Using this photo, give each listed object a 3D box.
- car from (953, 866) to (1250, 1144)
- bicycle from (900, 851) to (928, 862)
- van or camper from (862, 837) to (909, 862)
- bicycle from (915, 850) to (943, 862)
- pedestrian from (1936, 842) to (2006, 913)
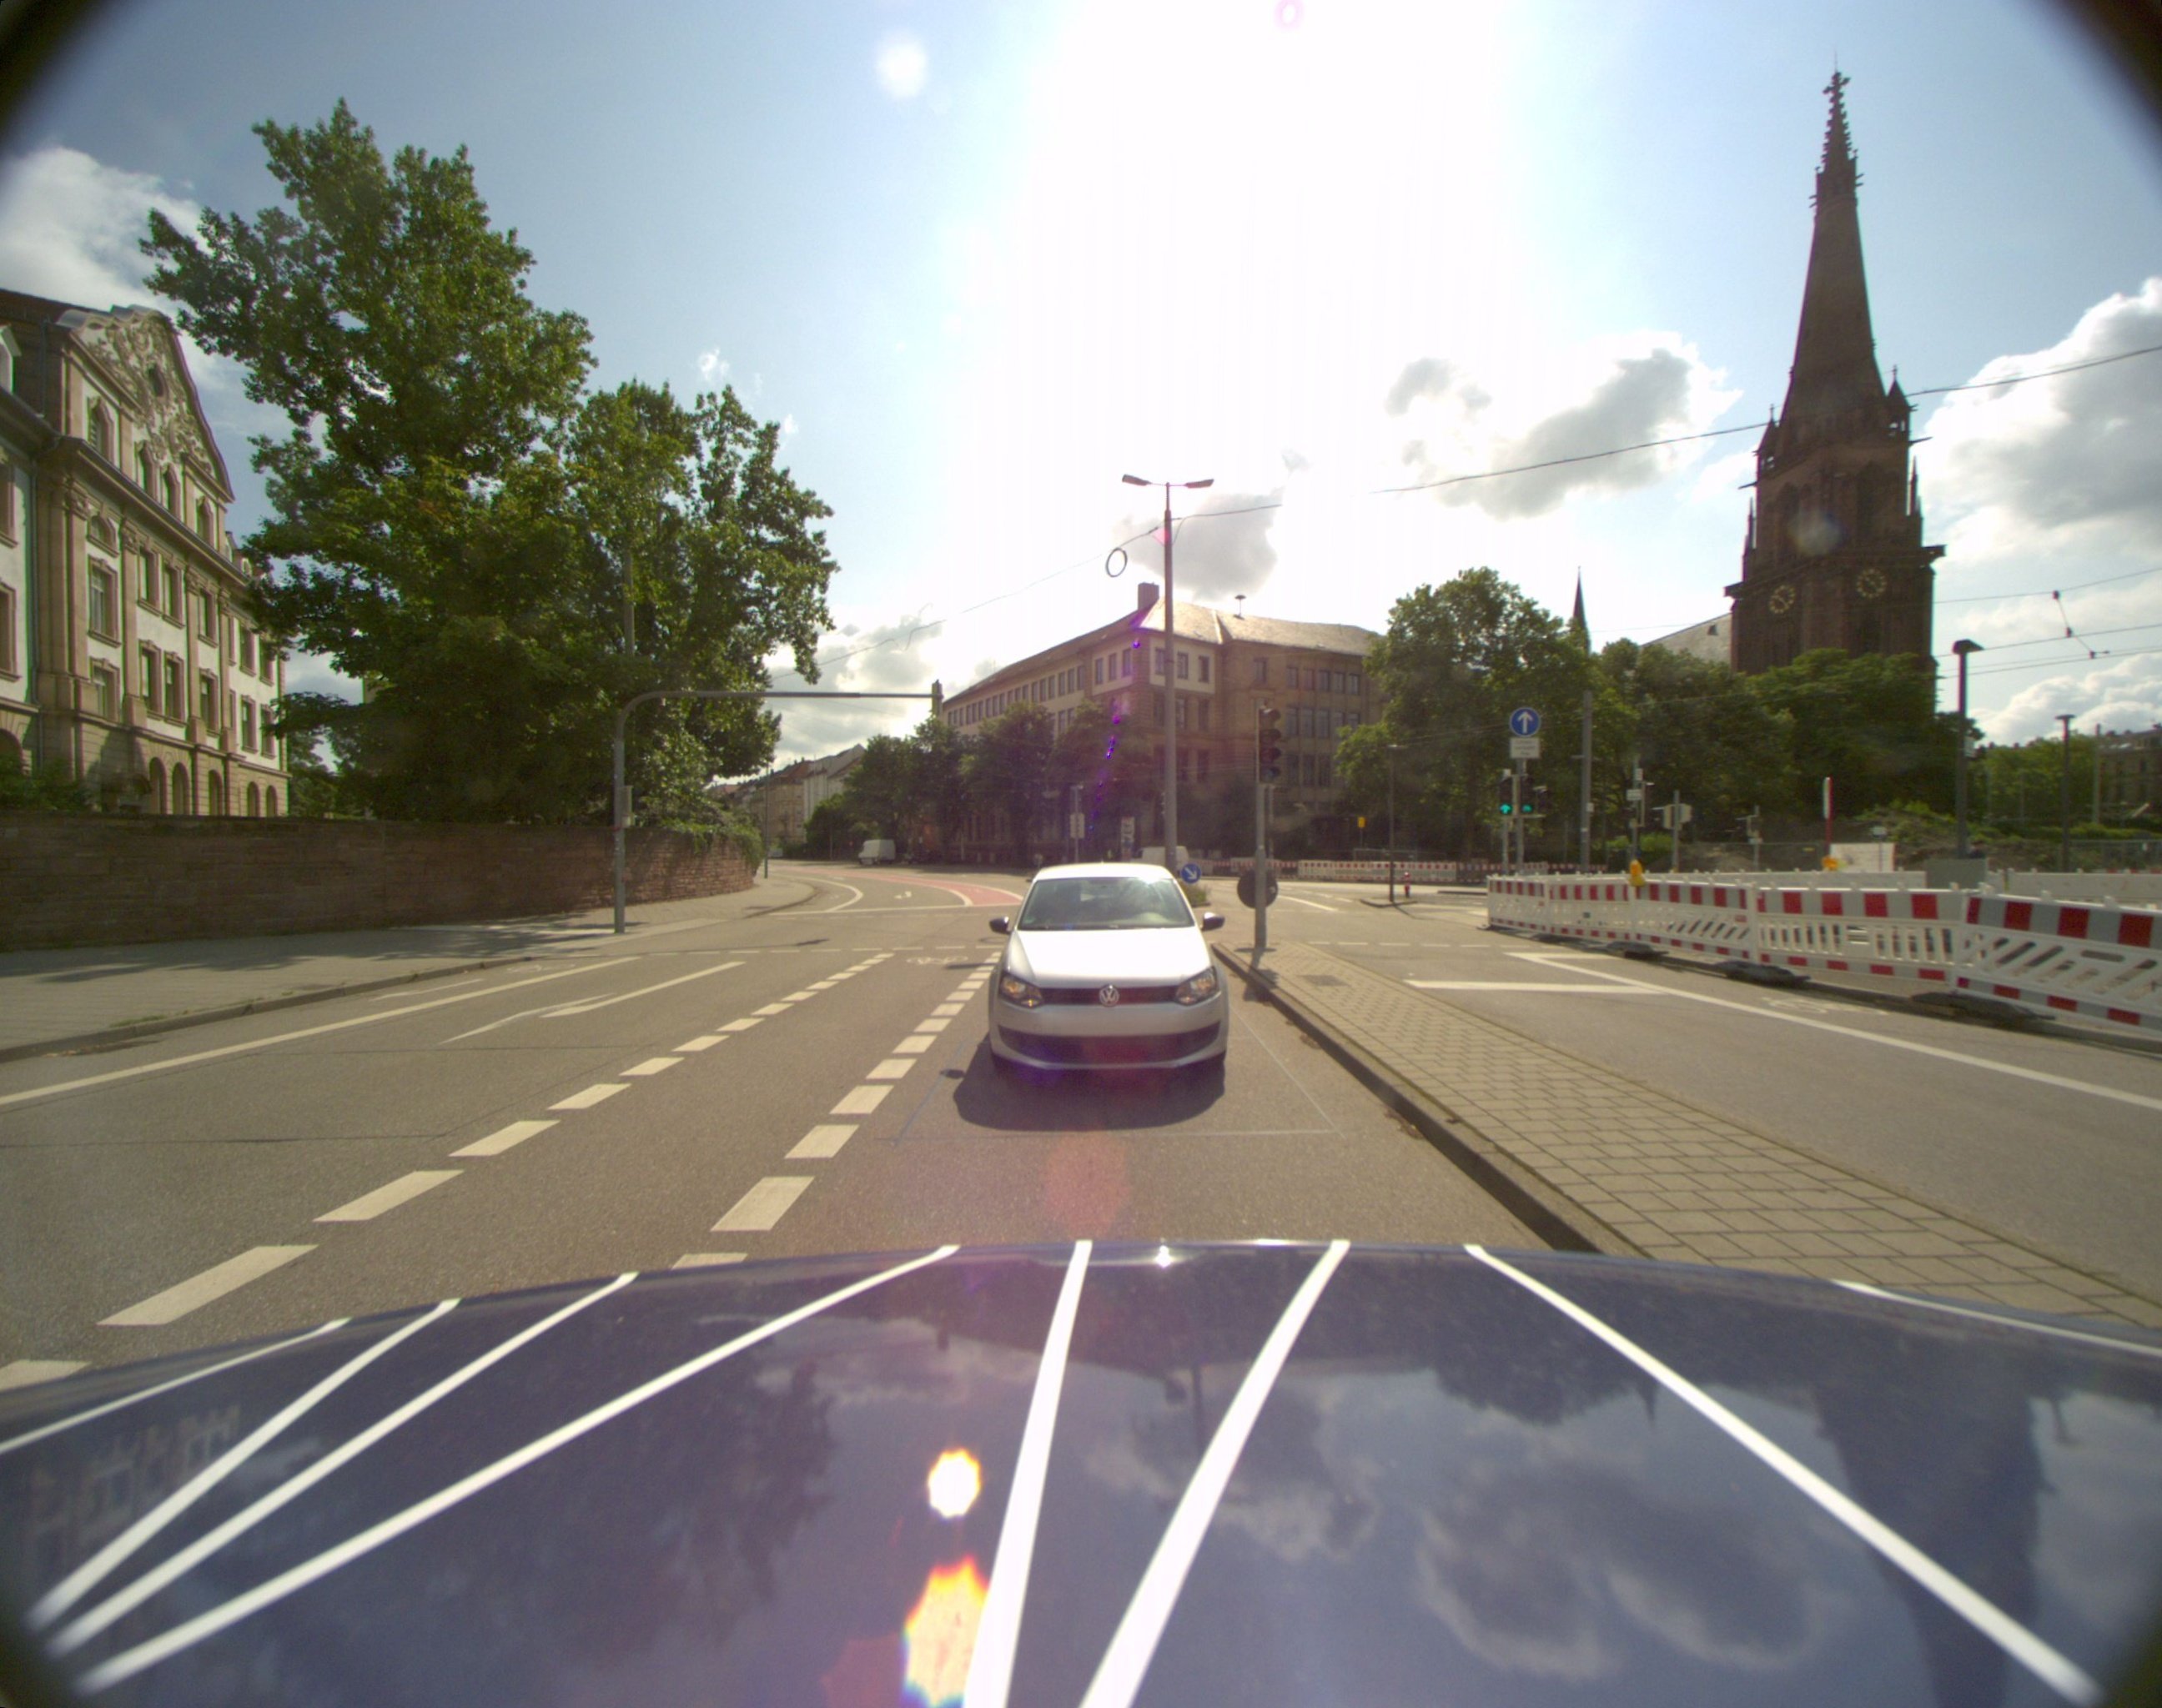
[{"bbox_3d":[0.145,0.907,6.379,1.655,1.433,4.004,-2,1,1],"label":"car"},{"bbox_3d":[-19.182,0.289,87.129,2.891,1.200,1.073,0,4,9],"label":"bicycle"},{"bbox_3d":[-21.207,-0.511,82.197,2.981,2.587,6.740,0,1,-33],"label":"van or camper"},{"bbox_3d":[-16.997,0.234,84.958,2.891,1.200,1.050,0,4,9],"label":"bicycle"},{"bbox_3d":[22.047,0.568,18.824,1.209,1.696,0.840,0,1,-26],"label":"pedestrian"}]
